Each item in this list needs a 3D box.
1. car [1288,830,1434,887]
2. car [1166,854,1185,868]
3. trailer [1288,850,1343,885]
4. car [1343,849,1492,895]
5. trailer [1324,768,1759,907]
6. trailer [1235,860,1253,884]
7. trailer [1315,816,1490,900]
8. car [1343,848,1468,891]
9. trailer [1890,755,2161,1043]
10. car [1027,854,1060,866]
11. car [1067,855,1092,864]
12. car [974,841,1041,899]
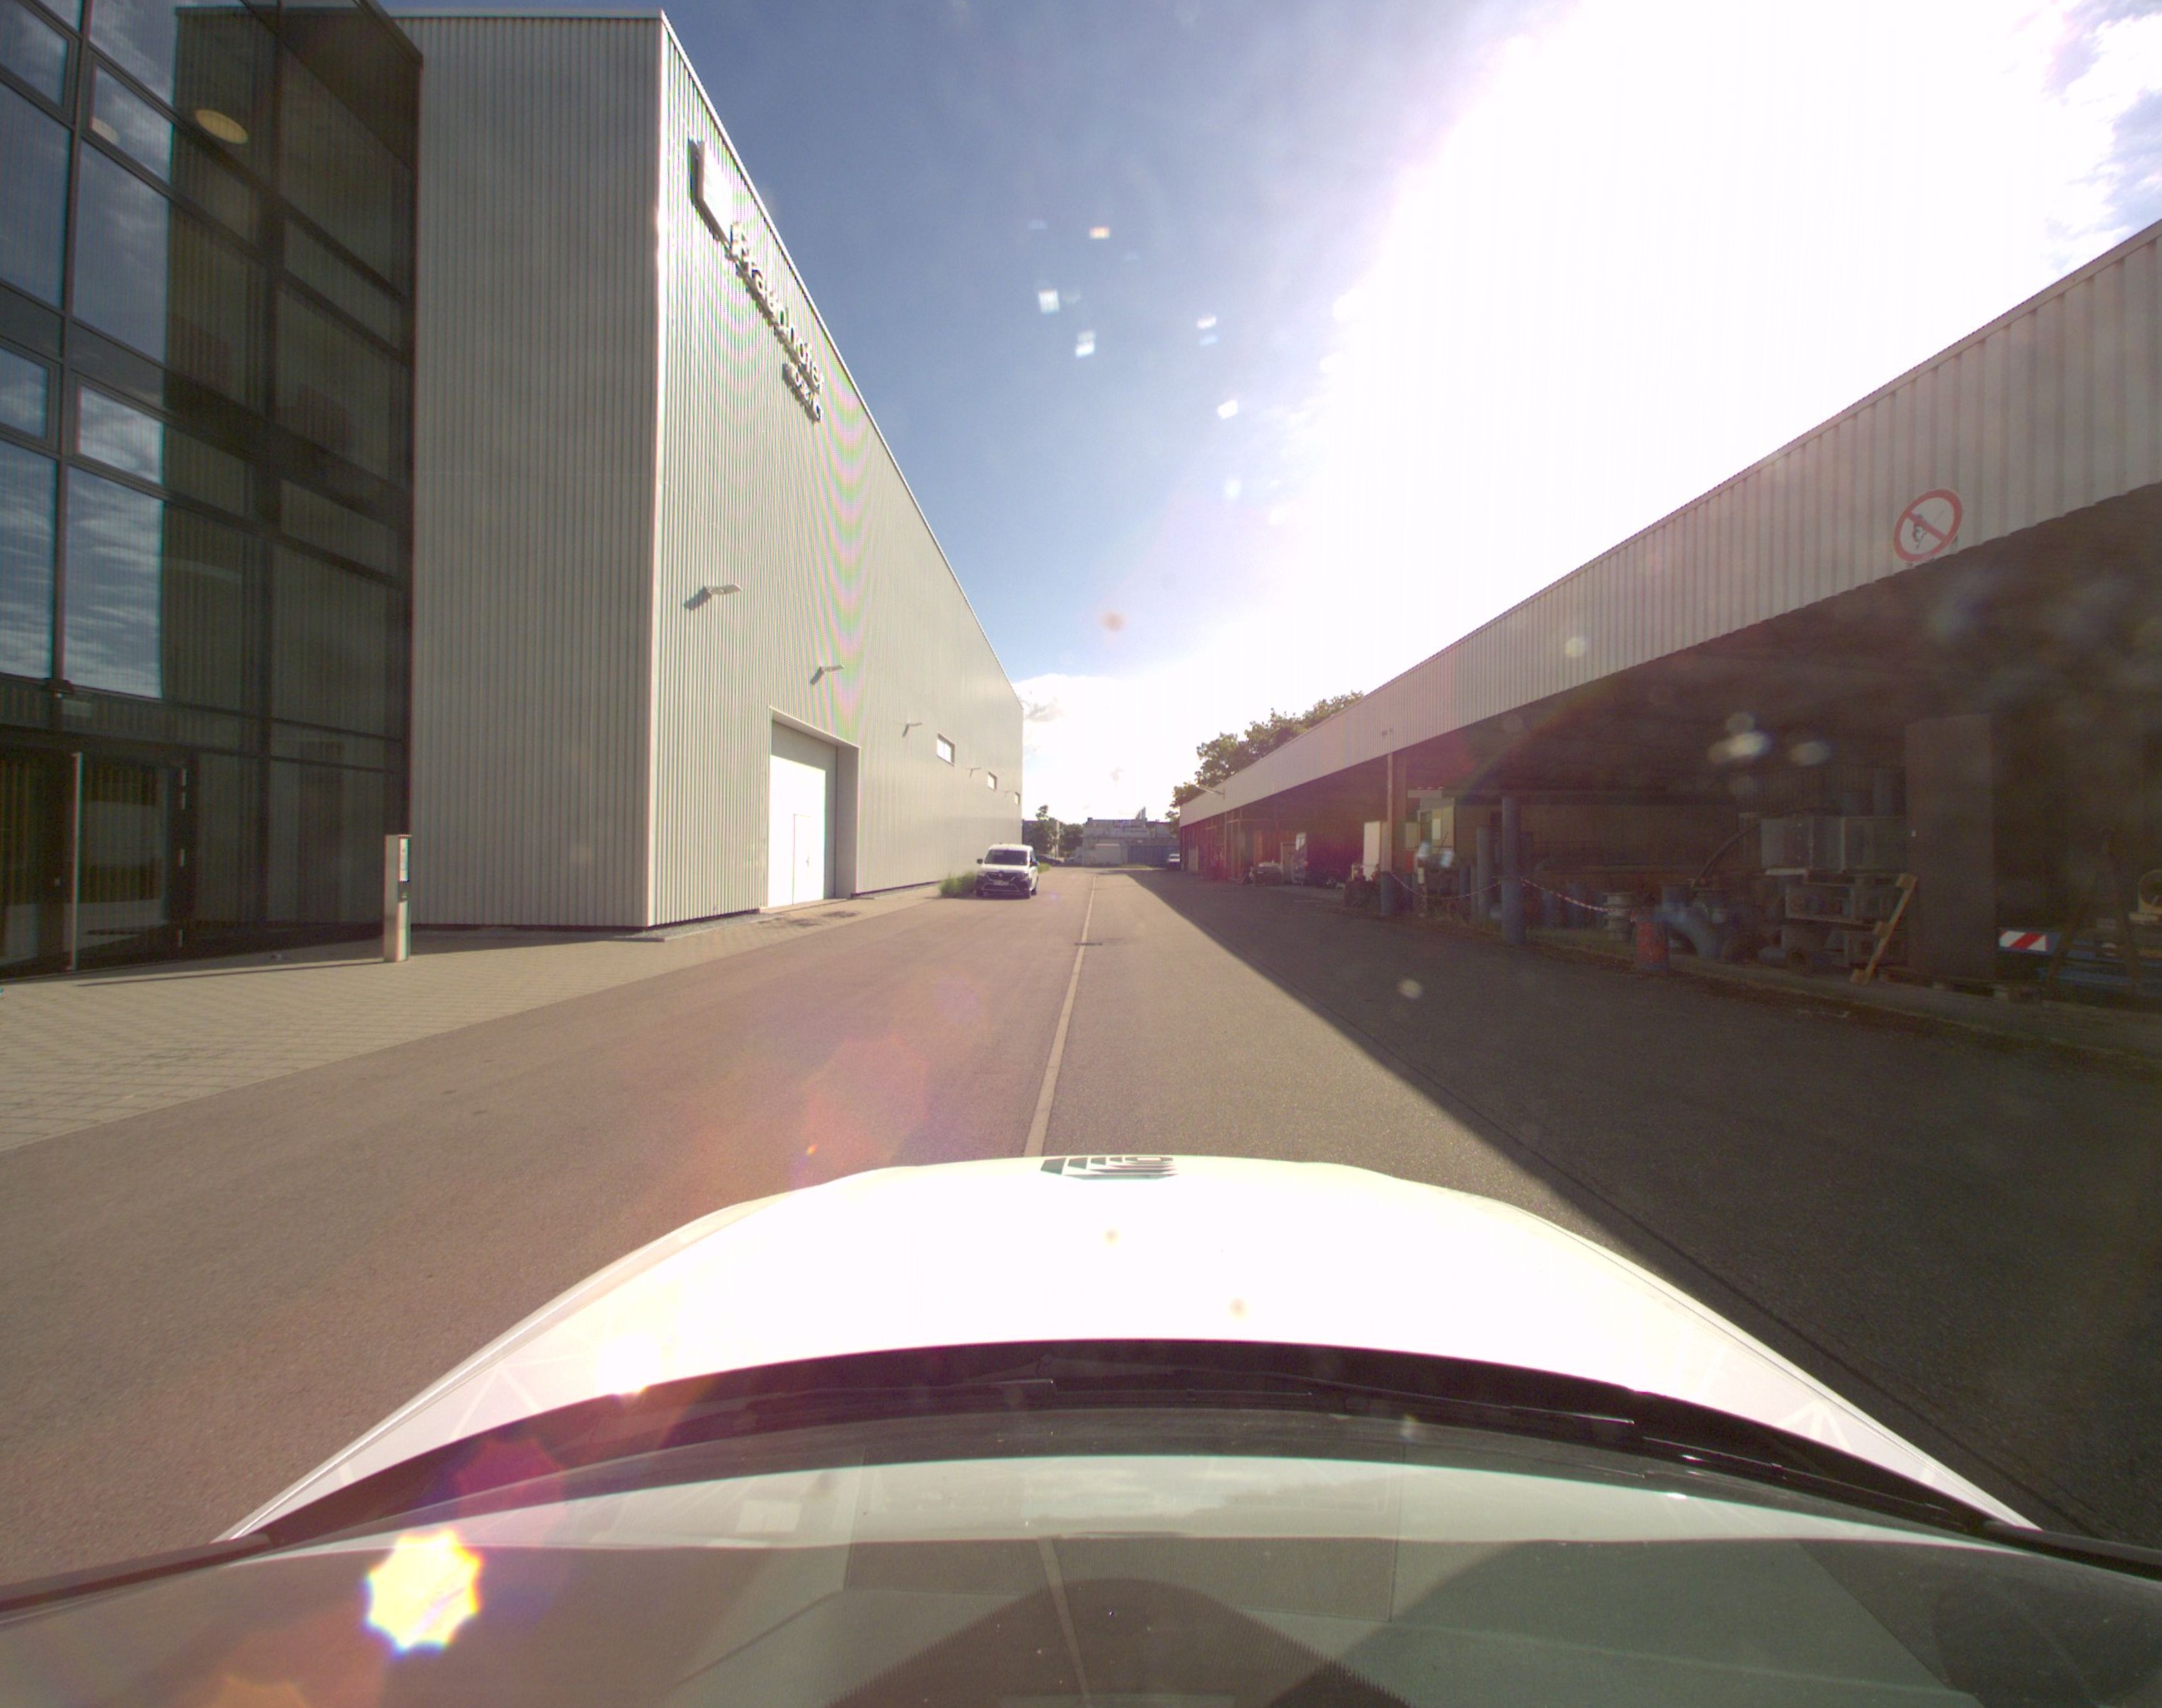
[{"bbox_3d":[11.433,0.187,33.542,5.314,2.281,2.152,0,-1,0],"label":"car"},{"bbox_3d":[11.288,0.808,97.848,1.971,1.602,4.380,-1,1,3],"label":"car"},{"bbox_3d":[10.375,0.596,36.165,2.028,1.466,1.741,-1,0,5],"label":"trailer"},{"bbox_3d":[11.205,0.582,27.301,4.237,1.471,1.868,0,0,-2],"label":"car"},{"bbox_3d":[12.170,-0.414,22.243,10.230,3.343,2.802,-1,0,1],"label":"trailer"},{"bbox_3d":[7.868,0.851,39.300,0.550,1.118,1.546,-1,-1,-1],"label":"trailer"},{"bbox_3d":[9.670,0.131,24.764,4.499,2.342,2.048,-1,-1,2],"label":"trailer"},{"bbox_3d":[12.042,0.572,30.378,3.954,1.514,1.839,0,-1,-2],"label":"car"},{"bbox_3d":[9.719,0.280,6.429,4.405,1.990,2.164,-1,-1,2],"label":"trailer"},{"bbox_3d":[-5.050,0.766,110.484,4.432,1.531,1.824,-1,-1,0],"label":"car"},{"bbox_3d":[-0.210,0.962,138.333,4.288,1.457,1.824,-1,-1,0],"label":"car"},{"bbox_3d":[-2.462,0.532,28.485,1.777,1.816,4.602,2,-1,1],"label":"car"}]
